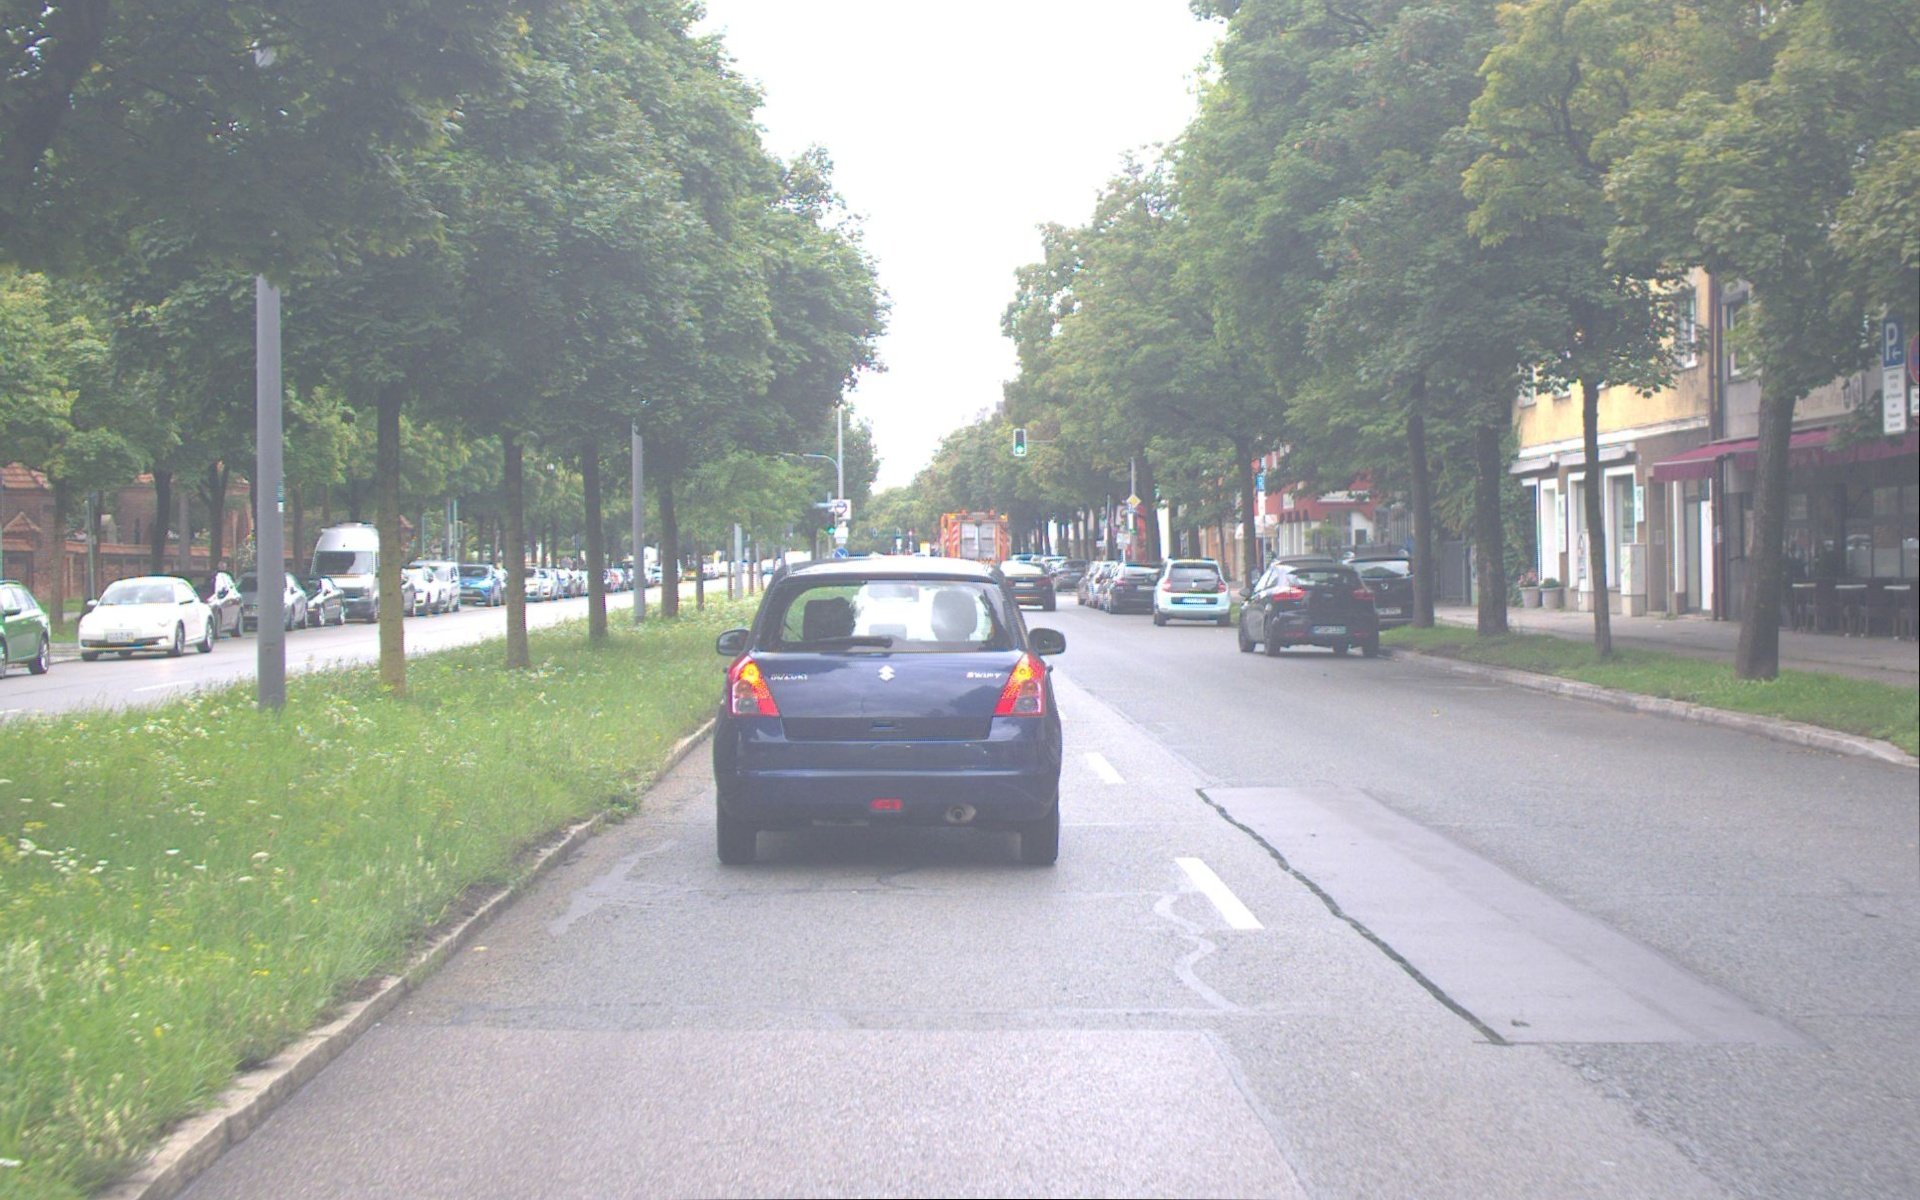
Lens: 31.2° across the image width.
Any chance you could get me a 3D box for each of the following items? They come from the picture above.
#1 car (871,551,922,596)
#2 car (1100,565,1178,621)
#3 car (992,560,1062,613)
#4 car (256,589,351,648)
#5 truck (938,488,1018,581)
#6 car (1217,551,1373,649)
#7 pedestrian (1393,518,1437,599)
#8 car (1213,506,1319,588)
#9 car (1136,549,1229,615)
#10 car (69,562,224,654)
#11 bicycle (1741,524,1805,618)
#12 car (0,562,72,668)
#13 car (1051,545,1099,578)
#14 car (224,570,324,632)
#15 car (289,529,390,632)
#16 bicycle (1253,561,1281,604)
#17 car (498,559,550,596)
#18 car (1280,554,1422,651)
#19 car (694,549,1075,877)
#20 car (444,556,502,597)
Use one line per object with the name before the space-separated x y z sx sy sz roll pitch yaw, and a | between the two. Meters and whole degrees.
car | -2.211 -0.935 119.312 1.718 1.495 4.301 0 1 -1
car | 4.926 -0.213 95.032 1.653 1.447 4.709 -1 1 -3
car | 1.943 -0.419 100.869 1.821 1.472 4.691 1 1 -1
car | -17.929 0.487 94.043 1.813 1.531 4.820 0 1 -2
truck | 0.683 -2.611 138.402 3.041 3.545 13.675 0 1 0
car | 5.203 -0.026 53.871 1.993 1.447 4.000 -1 1 0
pedestrian | 10.622 -0.963 80.271 0.792 1.849 0.777 -3 1 -3
car | 6.420 -1.119 72.540 1.815 1.620 4.308 -2 1 0
car | 5.049 -0.427 78.484 1.653 1.447 4.001 -1 1 -3
car | -15.144 0.122 64.201 1.761 1.532 4.315 -3 1 1
bicycle | 12.957 -0.470 54.803 0.580 1.458 1.688 -1 1 -1
car | -15.090 0.247 53.030 1.638 1.532 4.315 -3 1 -1
car | 5.378 -1.813 161.156 1.993 1.525 4.000 -1 1 -1
car | -17.598 0.002 88.366 1.813 1.531 4.442 0 1 -2
car | -18.149 -0.600 100.844 2.185 2.943 6.193 0 1 -3
bicycle | 7.024 -0.404 78.726 0.448 0.977 1.799 0 1 -1
car | -18.997 -0.984 149.775 1.801 1.529 4.000 -1 1 -1
car | 6.933 0.015 61.353 1.993 1.637 4.333 -1 1 0
car | -0.352 0.495 17.956 1.753 1.499 4.000 -1 1 0
car | -18.790 -0.907 132.639 1.706 1.529 4.000 -1 1 -1
